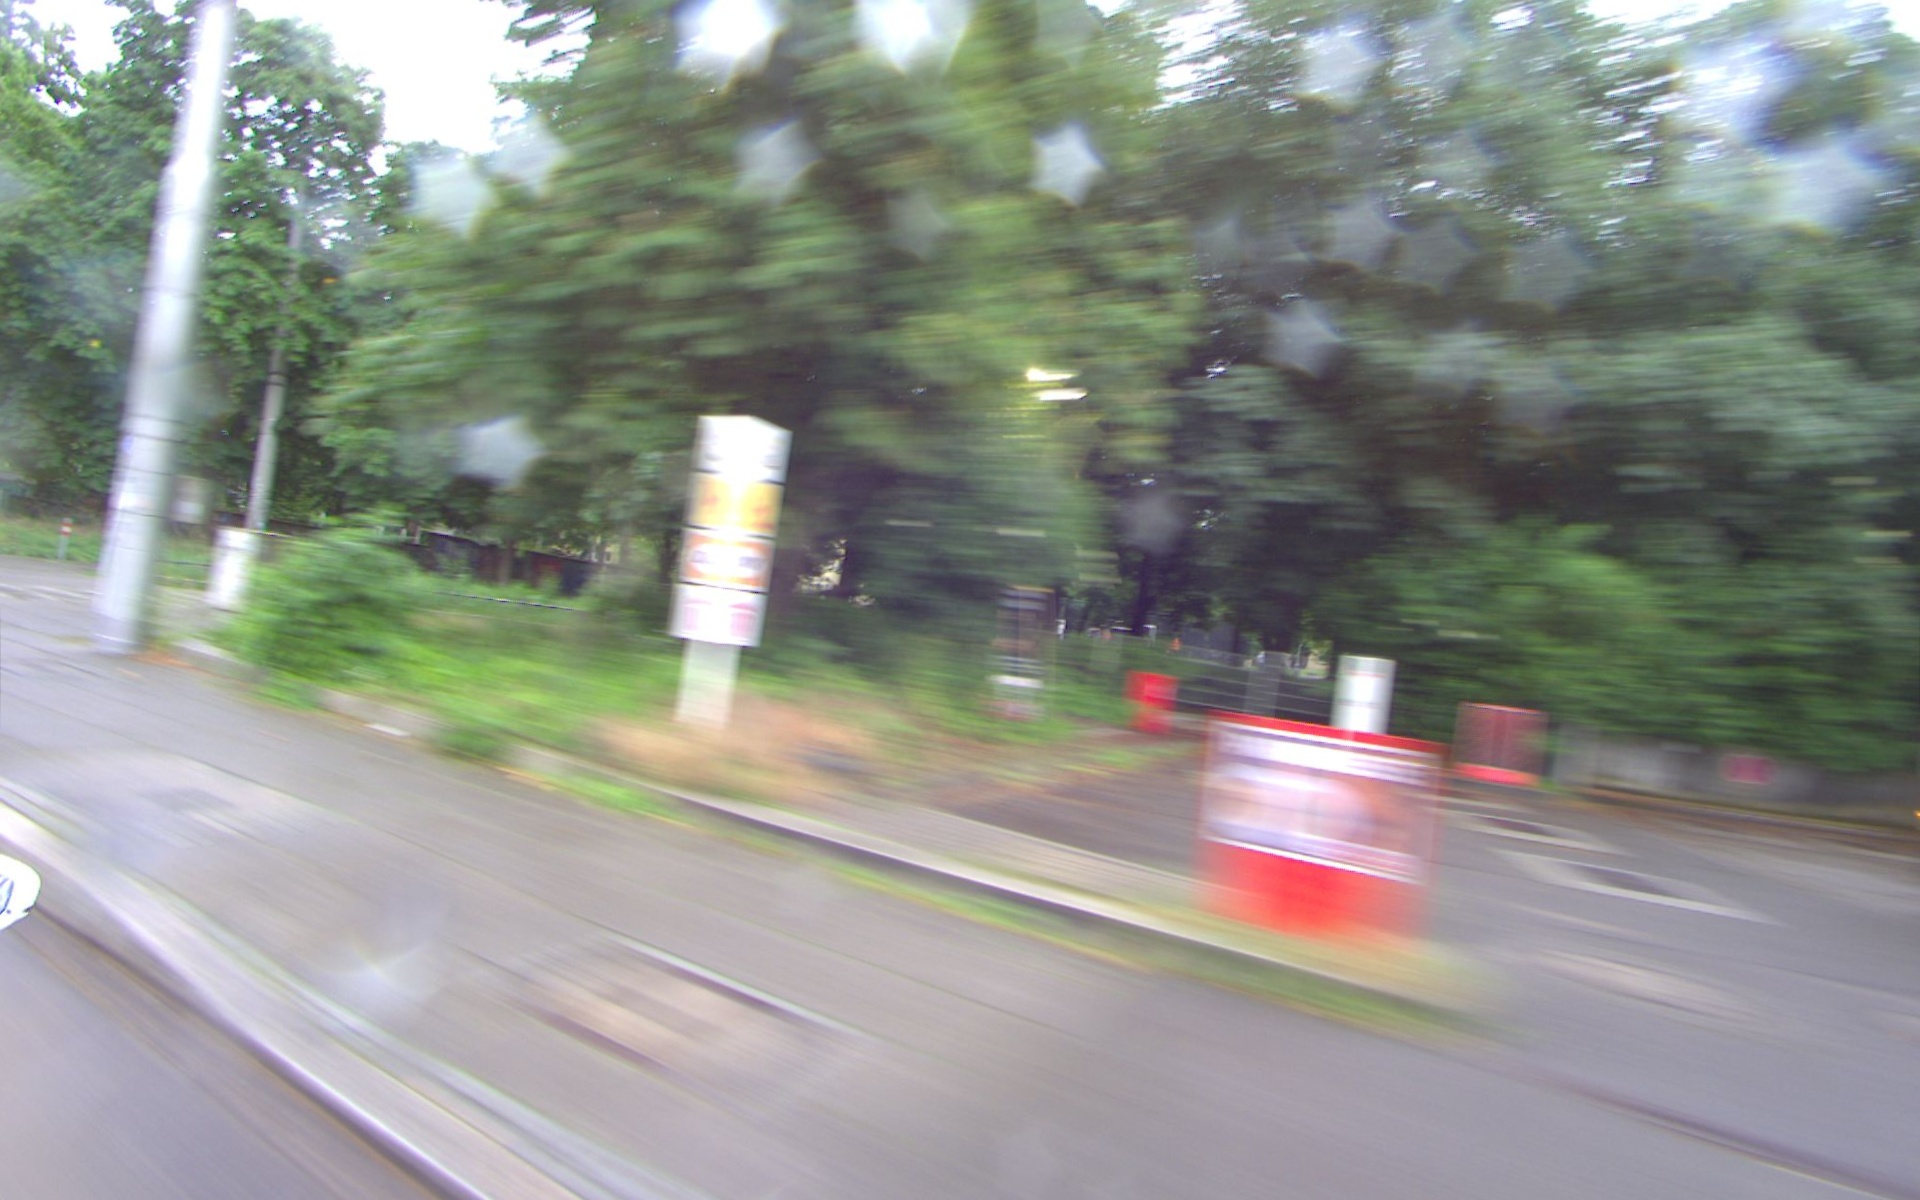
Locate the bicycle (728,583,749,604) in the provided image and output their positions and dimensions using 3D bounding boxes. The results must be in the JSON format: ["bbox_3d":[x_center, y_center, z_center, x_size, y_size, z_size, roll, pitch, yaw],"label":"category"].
[{"bbox_3d":[-13.861,-0.386,62.945,0.614,1.154,1.713,6,-1,8],"label":"bicycle"}]

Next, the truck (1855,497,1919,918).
[{"bbox_3d":[10.757,1.180,6.962,6.009,3.442,2.838,7,0,6],"label":"truck"}]
